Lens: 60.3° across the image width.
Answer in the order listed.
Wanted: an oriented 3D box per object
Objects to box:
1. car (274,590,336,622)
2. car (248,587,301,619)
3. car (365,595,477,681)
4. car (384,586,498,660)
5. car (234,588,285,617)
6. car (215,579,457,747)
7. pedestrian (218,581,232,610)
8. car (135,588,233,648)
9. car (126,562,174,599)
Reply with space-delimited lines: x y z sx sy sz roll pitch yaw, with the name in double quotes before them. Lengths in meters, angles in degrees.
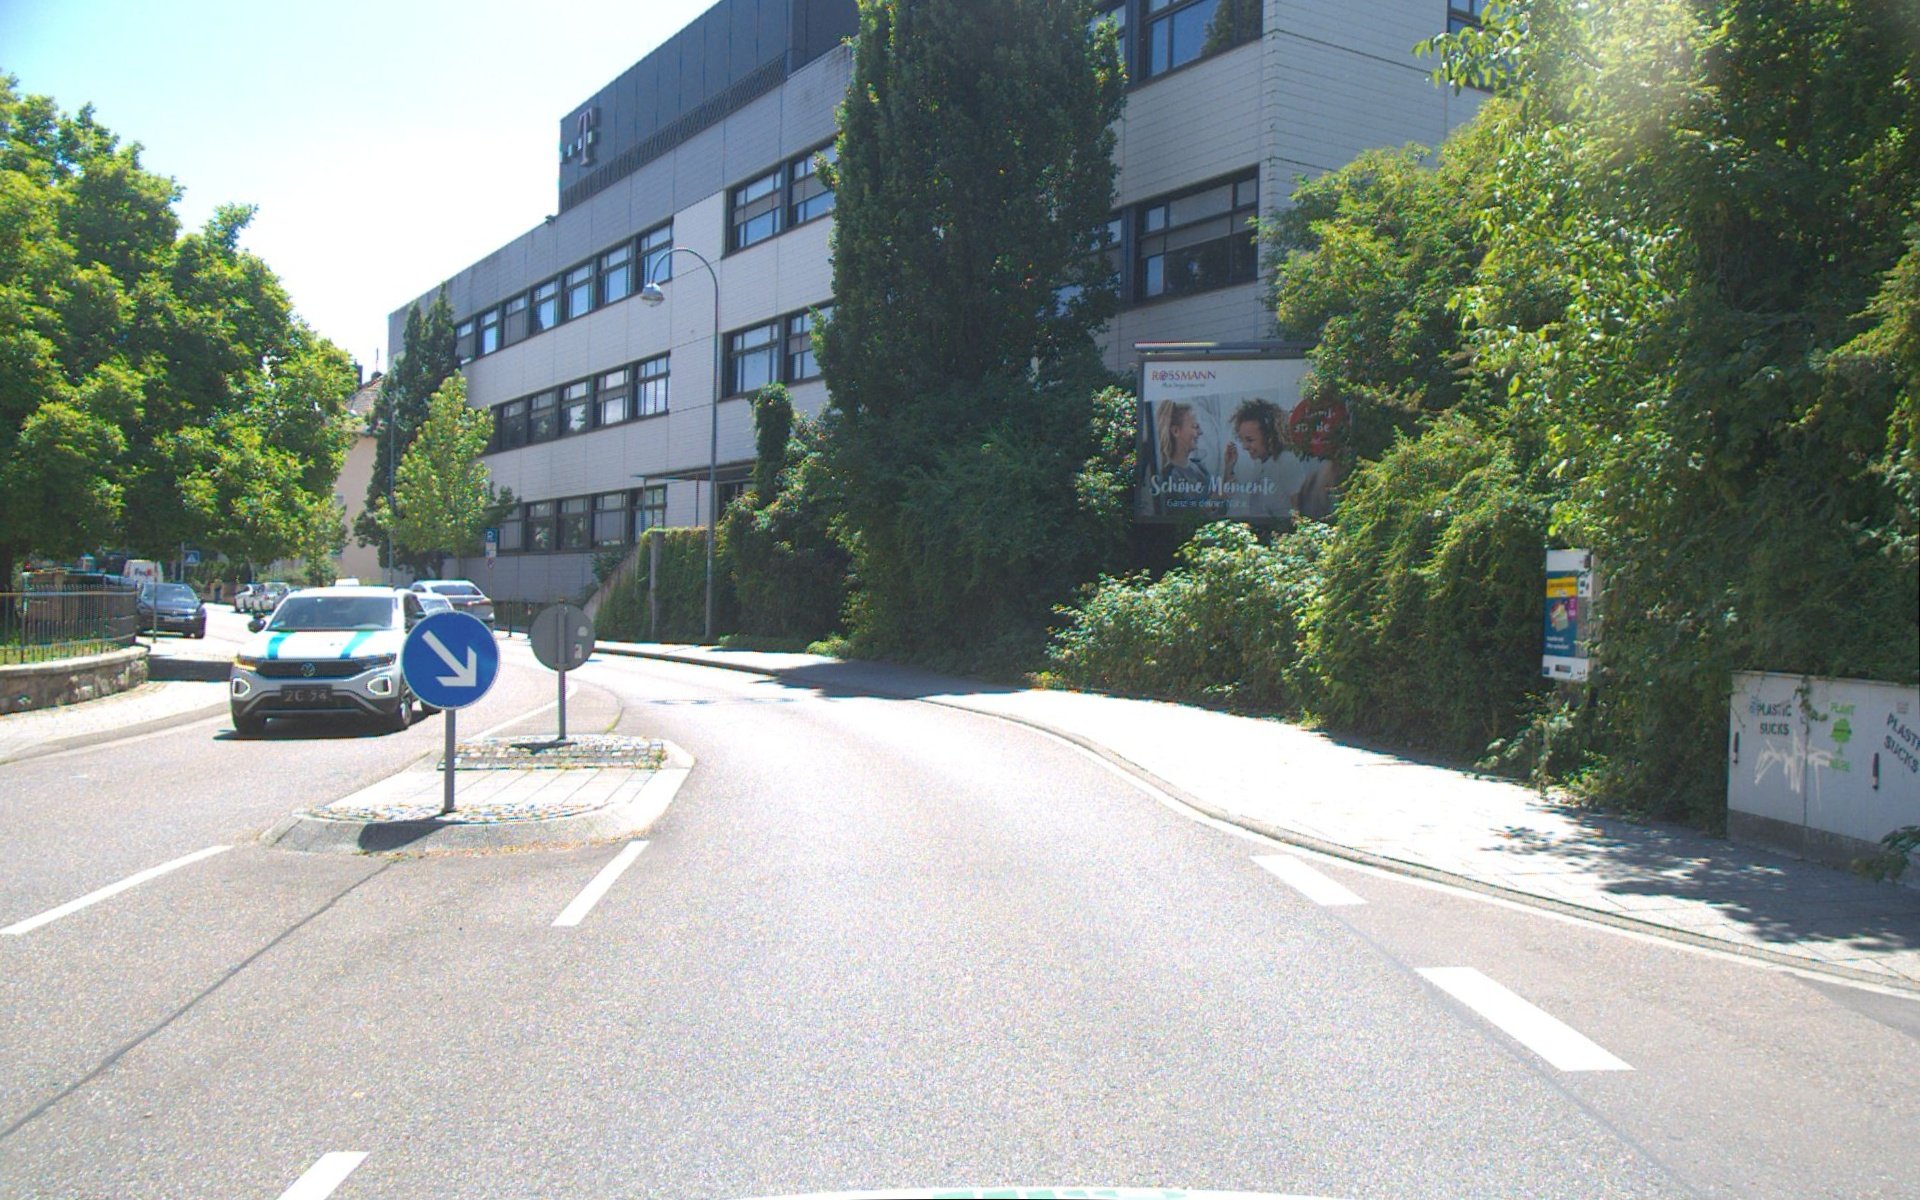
"car" -29.787 0.280 75.132 1.846 1.397 3.953 1 0 -33
"car" -33.155 0.119 79.929 1.643 1.514 4.296 -1 1 -33
"car" -10.041 0.643 30.643 1.733 1.460 4.276 -1 0 -21
"car" -13.747 0.546 43.651 1.916 1.641 4.428 -7 4 -29
"car" -35.581 0.122 83.959 1.710 1.407 4.352 -1 1 -33
"car" -7.078 0.633 19.210 1.838 1.651 4.294 1 1 -10
"pedestrian" -45.724 -0.255 102.856 0.632 1.789 0.609 1 0 -37
"car" -21.730 0.477 46.229 1.907 1.461 4.608 4 -2 -32
"car" -50.666 -1.227 103.387 2.051 2.235 5.078 -1 1 -34
